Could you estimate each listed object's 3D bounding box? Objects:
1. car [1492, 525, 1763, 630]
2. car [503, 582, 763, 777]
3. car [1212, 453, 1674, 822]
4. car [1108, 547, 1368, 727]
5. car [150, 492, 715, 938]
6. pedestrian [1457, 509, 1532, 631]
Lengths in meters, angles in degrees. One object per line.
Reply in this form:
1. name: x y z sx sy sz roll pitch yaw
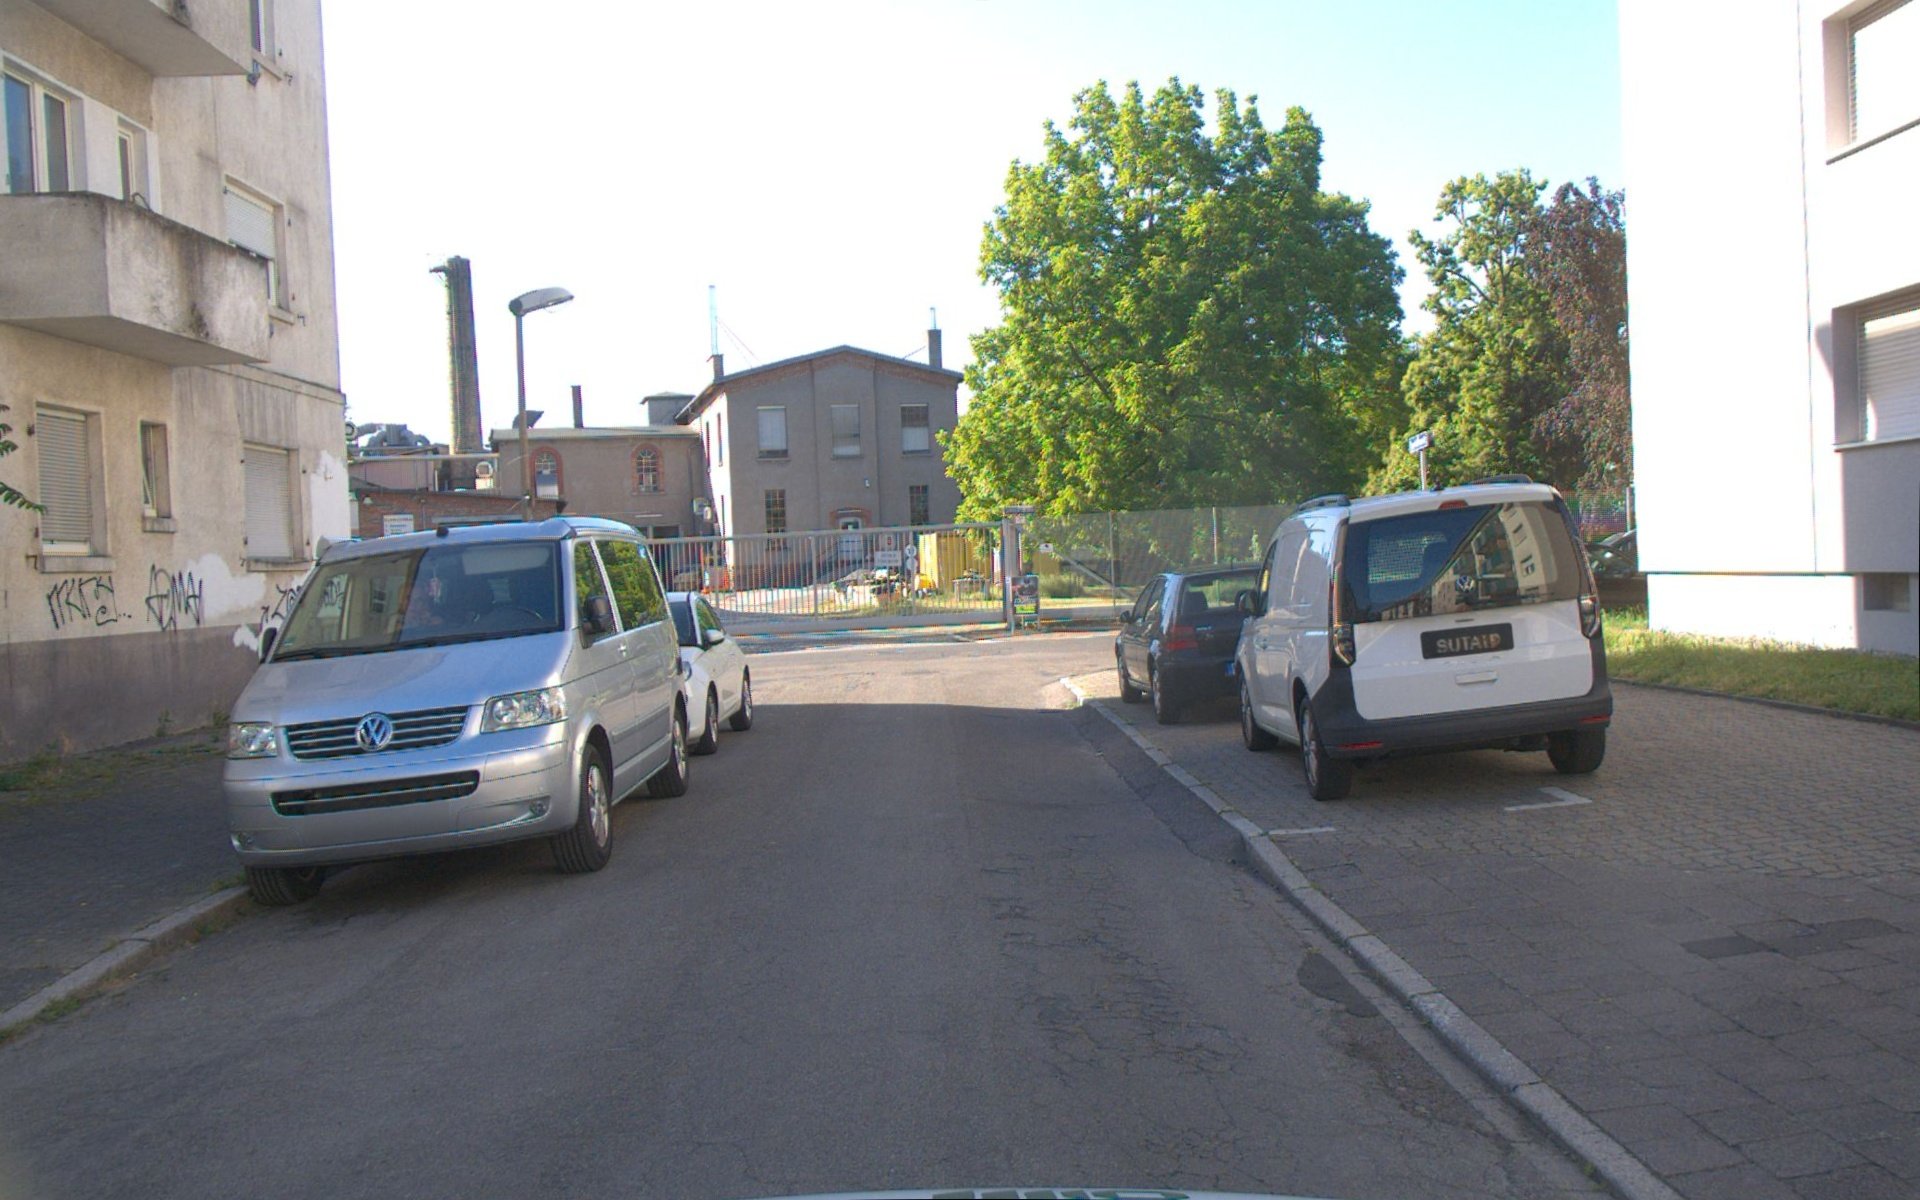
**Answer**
1. car: 11.424 -0.396 28.430 3.992 1.575 1.622 -2 1 -4
2. car: -2.999 0.656 15.930 1.652 1.484 3.722 -4 1 0
3. car: 3.026 0.157 11.434 1.761 1.877 4.540 -5 1 1
4. car: 2.667 0.291 16.815 1.762 1.439 4.048 -5 1 -1
5. car: -2.862 0.494 10.297 1.912 1.966 4.855 -5 1 -1
6. pedestrian: 8.163 -0.458 25.258 0.824 1.802 0.645 -3 2 -15
